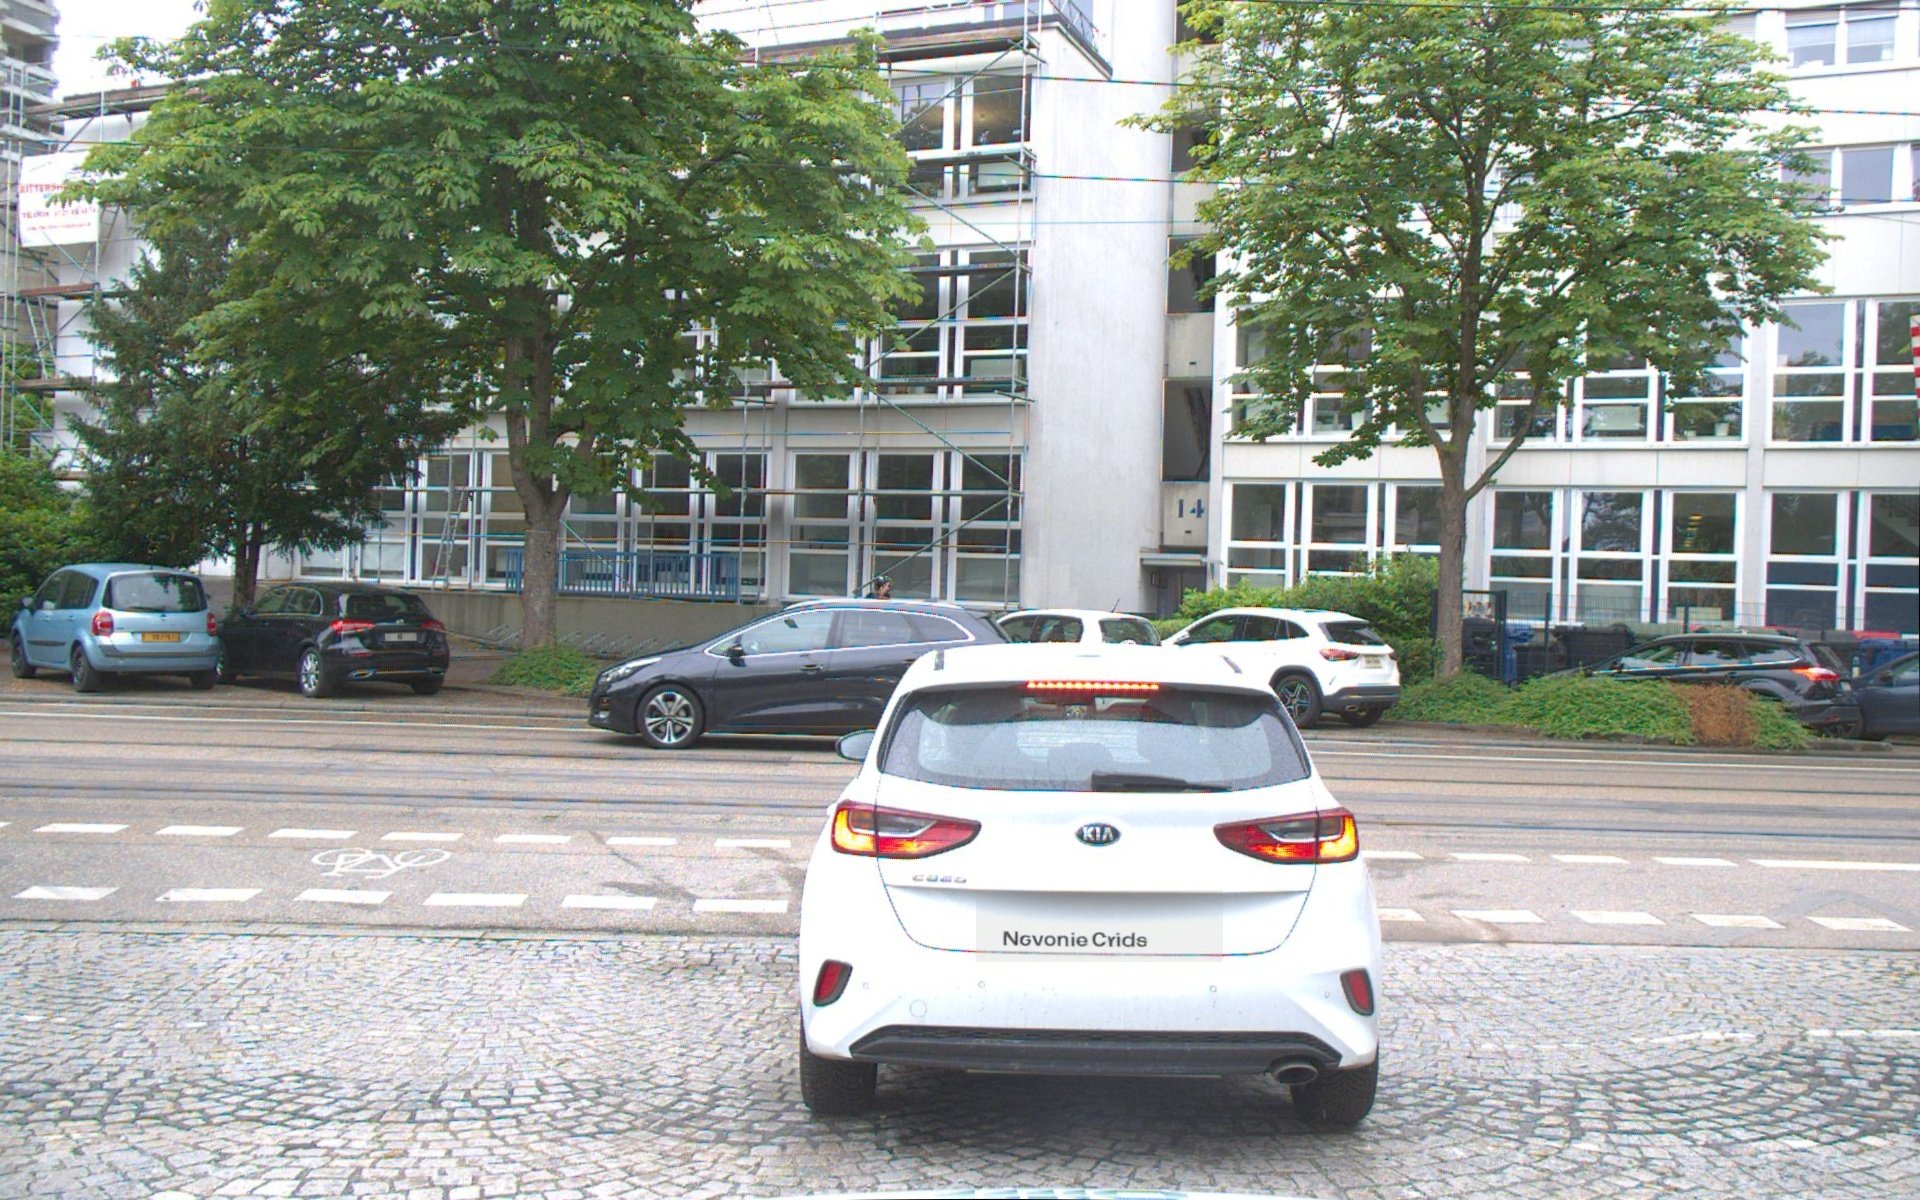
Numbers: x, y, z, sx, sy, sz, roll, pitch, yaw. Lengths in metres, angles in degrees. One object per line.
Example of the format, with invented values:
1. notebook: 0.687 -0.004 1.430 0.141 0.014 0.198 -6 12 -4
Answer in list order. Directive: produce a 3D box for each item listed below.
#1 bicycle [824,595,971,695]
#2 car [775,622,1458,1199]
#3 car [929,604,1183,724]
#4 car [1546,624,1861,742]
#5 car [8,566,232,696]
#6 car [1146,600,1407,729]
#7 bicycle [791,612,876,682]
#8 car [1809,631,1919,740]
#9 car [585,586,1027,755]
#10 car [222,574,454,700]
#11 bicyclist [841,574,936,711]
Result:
1. bicycle: -0.827 0.563 21.400 1.883 1.194 0.816 2 0 44
2. car: 0.484 0.846 6.247 1.738 1.458 3.979 1 -1 2
3. car: 1.275 0.830 22.826 1.545 1.499 3.352 1 0 -44
4. car: 10.744 1.142 24.014 3.881 1.499 1.665 1 0 40
5. car: -11.173 0.372 21.929 3.279 1.564 1.608 1 0 43
6. car: 4.417 0.857 23.365 1.545 1.646 3.352 1 0 -44
7. bicycle: -2.217 0.802 29.332 0.631 1.093 2.313 2 2 19
8. car: 14.170 1.238 23.677 3.331 1.499 1.407 1 0 43
9. car: -1.512 0.677 16.686 4.158 1.516 1.822 2 0 -5
10. car: -8.327 0.449 22.044 3.279 1.537 1.608 1 0 43
11. bicyclist: -0.930 0.542 21.506 0.882 1.727 0.828 1 0 44
